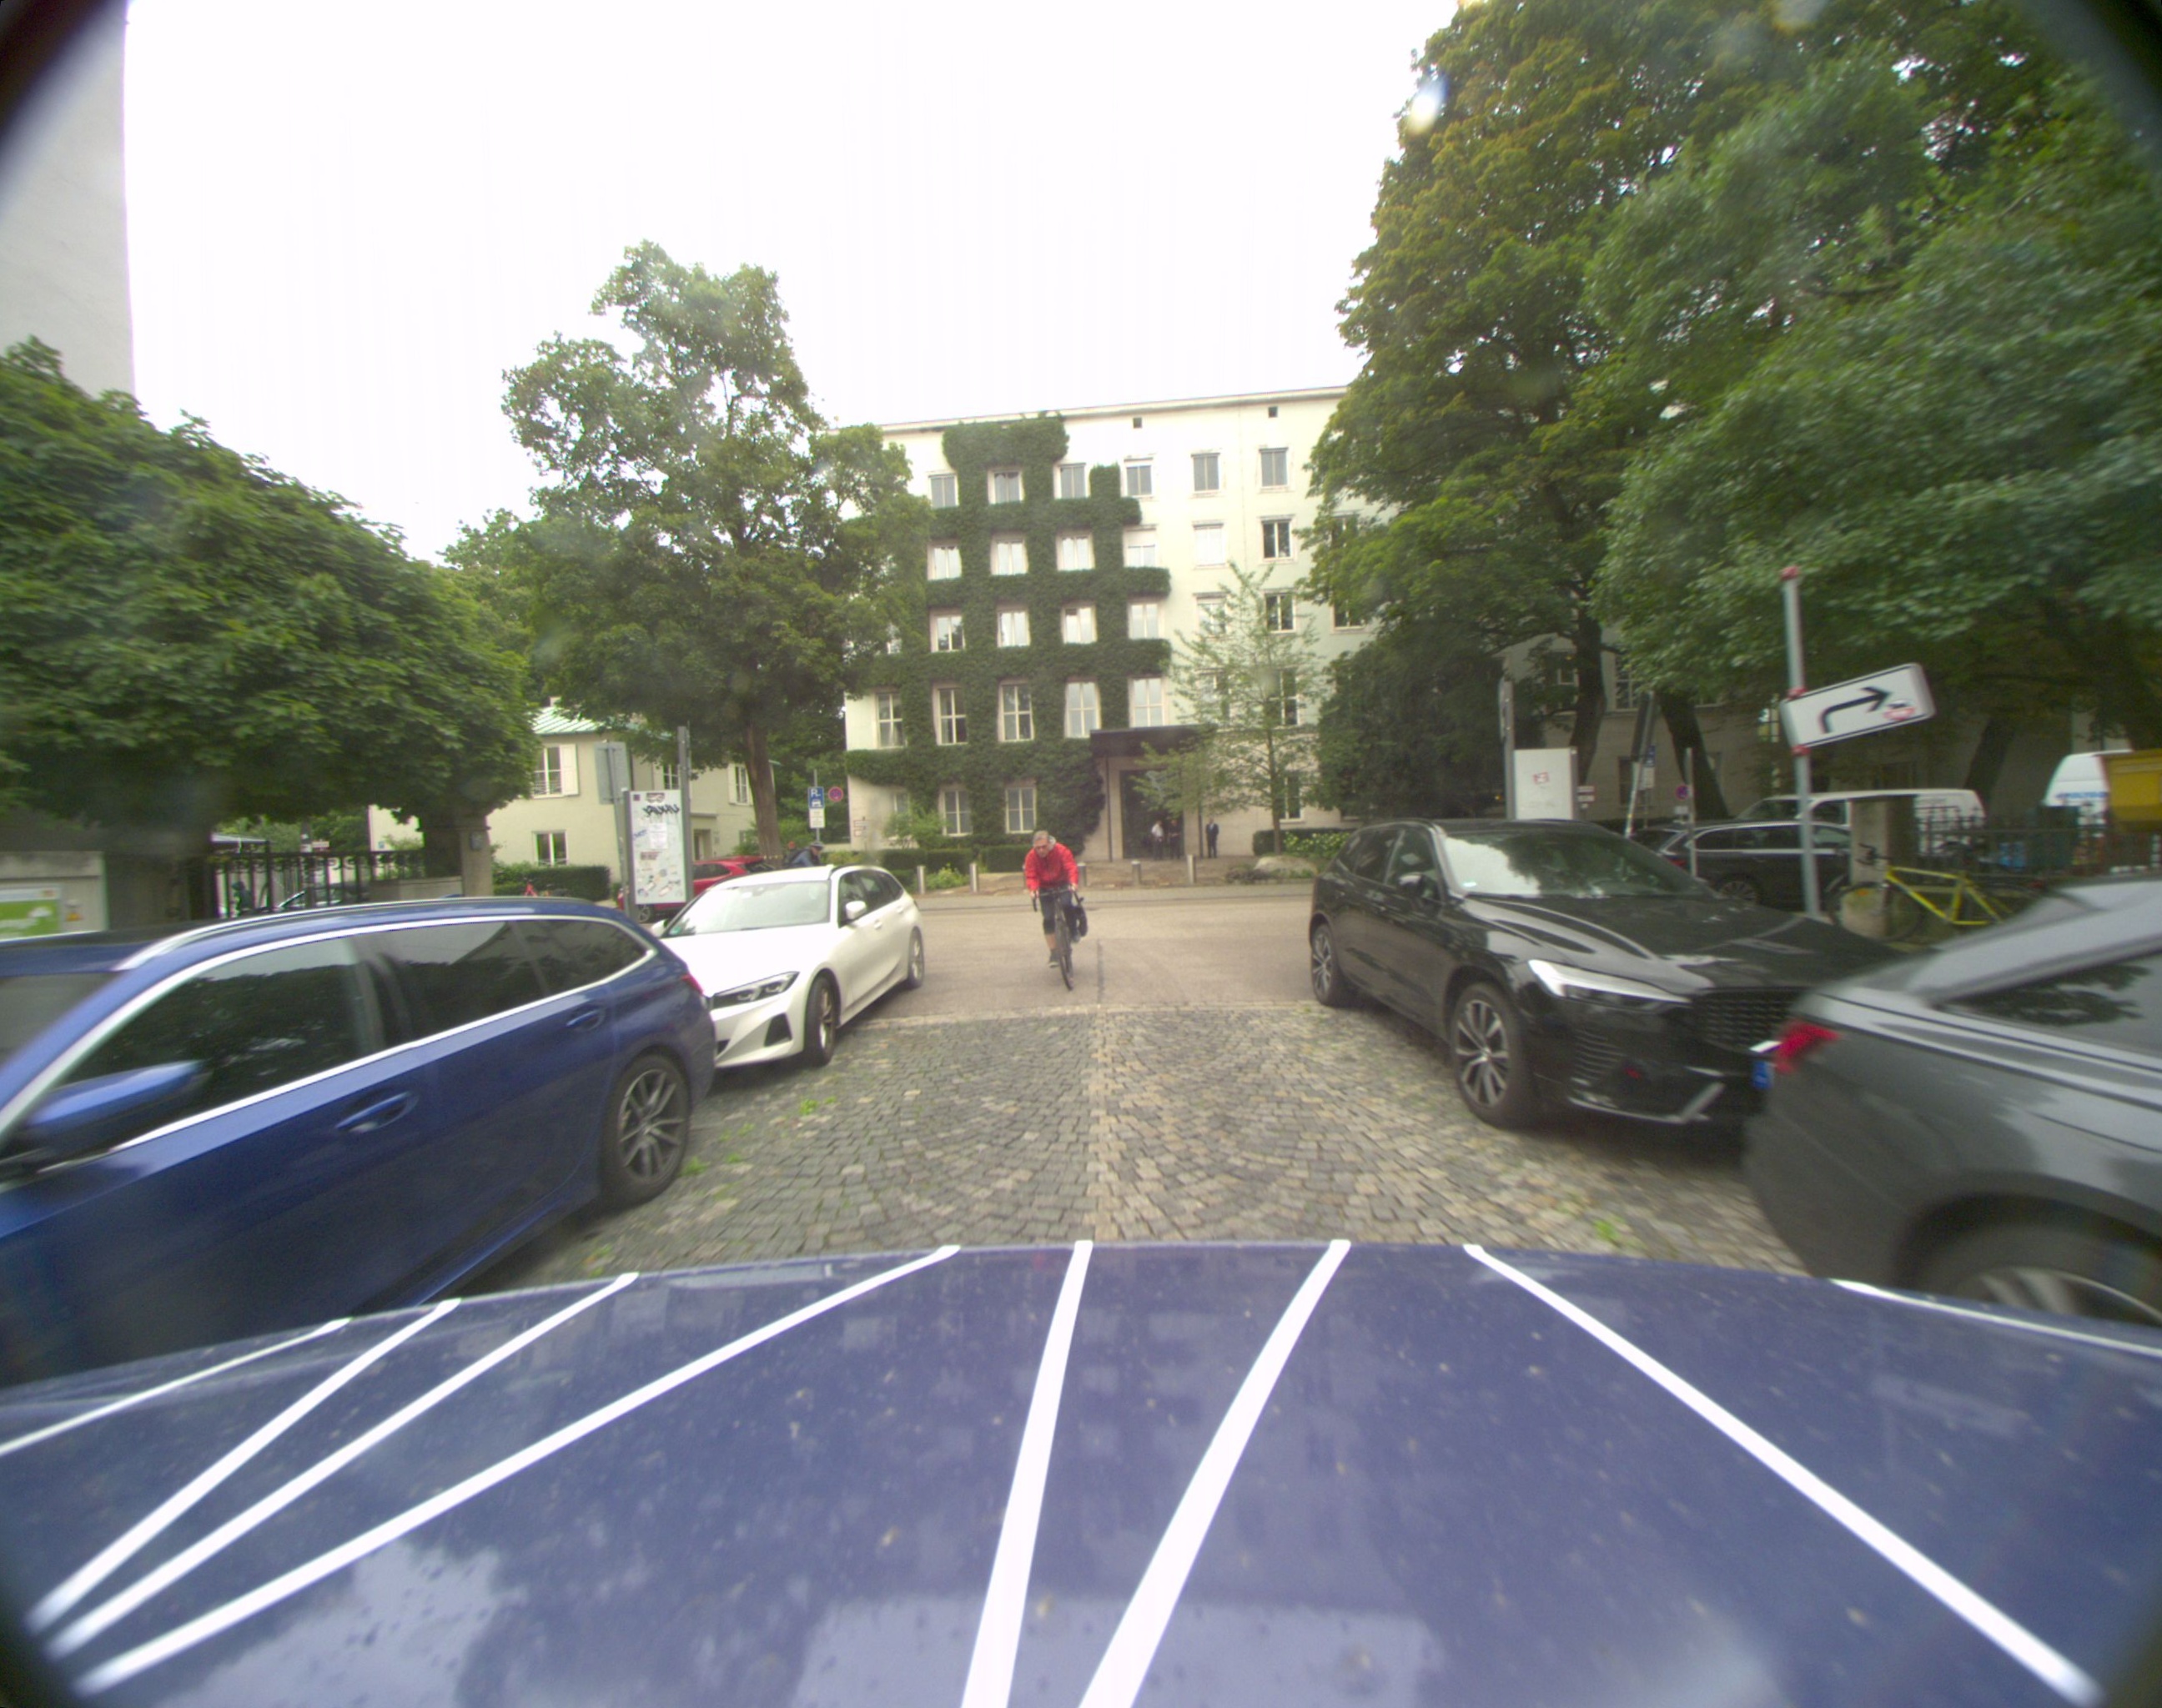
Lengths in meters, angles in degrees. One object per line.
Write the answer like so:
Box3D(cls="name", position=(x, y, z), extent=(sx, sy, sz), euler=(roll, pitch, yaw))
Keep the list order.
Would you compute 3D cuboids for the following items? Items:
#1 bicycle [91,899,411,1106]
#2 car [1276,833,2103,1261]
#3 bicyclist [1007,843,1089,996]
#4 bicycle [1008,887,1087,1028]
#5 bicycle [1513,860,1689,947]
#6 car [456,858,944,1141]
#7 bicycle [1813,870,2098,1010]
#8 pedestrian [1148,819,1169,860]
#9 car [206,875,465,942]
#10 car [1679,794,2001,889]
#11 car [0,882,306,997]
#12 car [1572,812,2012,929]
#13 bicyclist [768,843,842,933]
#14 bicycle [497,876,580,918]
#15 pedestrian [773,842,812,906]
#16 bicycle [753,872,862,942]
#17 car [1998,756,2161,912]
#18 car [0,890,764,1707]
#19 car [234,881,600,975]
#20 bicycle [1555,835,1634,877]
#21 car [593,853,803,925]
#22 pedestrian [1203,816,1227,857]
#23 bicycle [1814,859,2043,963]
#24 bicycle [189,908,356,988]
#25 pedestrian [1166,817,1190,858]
Box3D(cls="bicycle", position=(-6.685, 1.107, 6.314), extent=(0.467, 1.269, 1.918), euler=(-3, 2, -1))
Box3D(cls="car", position=(3.011, 0.699, 5.505), extent=(1.942, 1.643, 5.053), euler=(1, 2, 1))
Box3D(cls="bicyclist", position=(-0.323, 0.651, 8.050), extent=(0.756, 1.475, 0.981), euler=(-2, 3, 1))
Box3D(cls="bicycle", position=(-0.304, 1.013, 8.102), extent=(0.674, 1.135, 2.010), euler=(-2, 3, 1))
Box3D(cls="bicycle", position=(7.231, 0.659, 10.579), extent=(2.202, 1.022, 0.655), euler=(-3, 1, -12))
Box3D(cls="car", position=(-2.806, 0.922, 7.166), extent=(1.911, 1.523, 4.922), euler=(-5, 1, 1))
Box3D(cls="bicycle", position=(7.918, 0.712, 7.038), extent=(0.556, 1.022, 1.930), euler=(-3, 1, 7))
Box3D(cls="pedestrian", position=(3.384, -0.625, 33.098), extent=(0.752, 1.743, 0.901), euler=(-2, 2, 0))
Box3D(cls="car", position=(-19.760, 1.420, 20.307), extent=(4.921, 1.394, 1.812), euler=(-2, 3, -2))
Box3D(cls="car", position=(18.013, -0.333, 18.287), extent=(5.449, 1.946, 2.254), euler=(-2, 3, 1))
Box3D(cls="car", position=(-16.162, 1.420, 13.093), extent=(3.707, 1.539, 1.775), euler=(-2, 6, 3))
Box3D(cls="car", position=(10.767, 0.252, 11.921), extent=(4.581, 1.537, 2.281), euler=(-2, 0, 5))
Box3D(cls="bicyclist", position=(-5.429, 0.649, 15.010), extent=(1.034, 1.658, 0.780), euler=(-3, 3, 1))
Box3D(cls="bicycle", position=(-16.049, 1.264, 22.500), extent=(2.044, 1.124, 0.652), euler=(-2, 1, 8))
Box3D(cls="pedestrian", position=(-8.623, 0.587, 22.755), extent=(0.796, 1.842, 0.714), euler=(-2, 3, 2))
Box3D(cls="bicycle", position=(-5.387, 1.036, 15.042), extent=(1.799, 1.200, 0.720), euler=(-3, 3, 1))
Box3D(cls="car", position=(17.692, -0.355, 11.477), extent=(4.851, 2.195, 2.211), euler=(-2, 0, 2))
Box3D(cls="car", position=(-2.926, 1.085, 2.063), extent=(1.934, 1.498, 4.874), euler=(-4, 1, 1))
Box3D(cls="car", position=(-11.288, 1.221, 13.179), extent=(4.591, 1.311, 2.007), euler=(-2, -1, 1))
Box3D(cls="bicycle", position=(14.517, 0.049, 21.513), extent=(1.765, 1.096, 0.635), euler=(-2, 3, 5))
Box3D(cls="car", position=(-10.045, 0.900, 20.175), extent=(4.524, 1.582, 1.892), euler=(-2, 3, 1))
Box3D(cls="pedestrian", position=(5.861, -0.760, 33.232), extent=(0.900, 1.743, 0.752), euler=(-1, 2, -1))
Box3D(cls="bicycle", position=(9.325, 0.619, 8.400), extent=(1.888, 1.022, 0.431), euler=(-3, 1, 5))
Box3D(cls="bicycle", position=(-11.987, 1.394, 11.289), extent=(1.936, 1.057, 0.665), euler=(-2, 1, 8))
Box3D(cls="pedestrian", position=(4.237, -0.712, 33.237), extent=(0.900, 1.743, 0.752), euler=(-1, 2, -1))
